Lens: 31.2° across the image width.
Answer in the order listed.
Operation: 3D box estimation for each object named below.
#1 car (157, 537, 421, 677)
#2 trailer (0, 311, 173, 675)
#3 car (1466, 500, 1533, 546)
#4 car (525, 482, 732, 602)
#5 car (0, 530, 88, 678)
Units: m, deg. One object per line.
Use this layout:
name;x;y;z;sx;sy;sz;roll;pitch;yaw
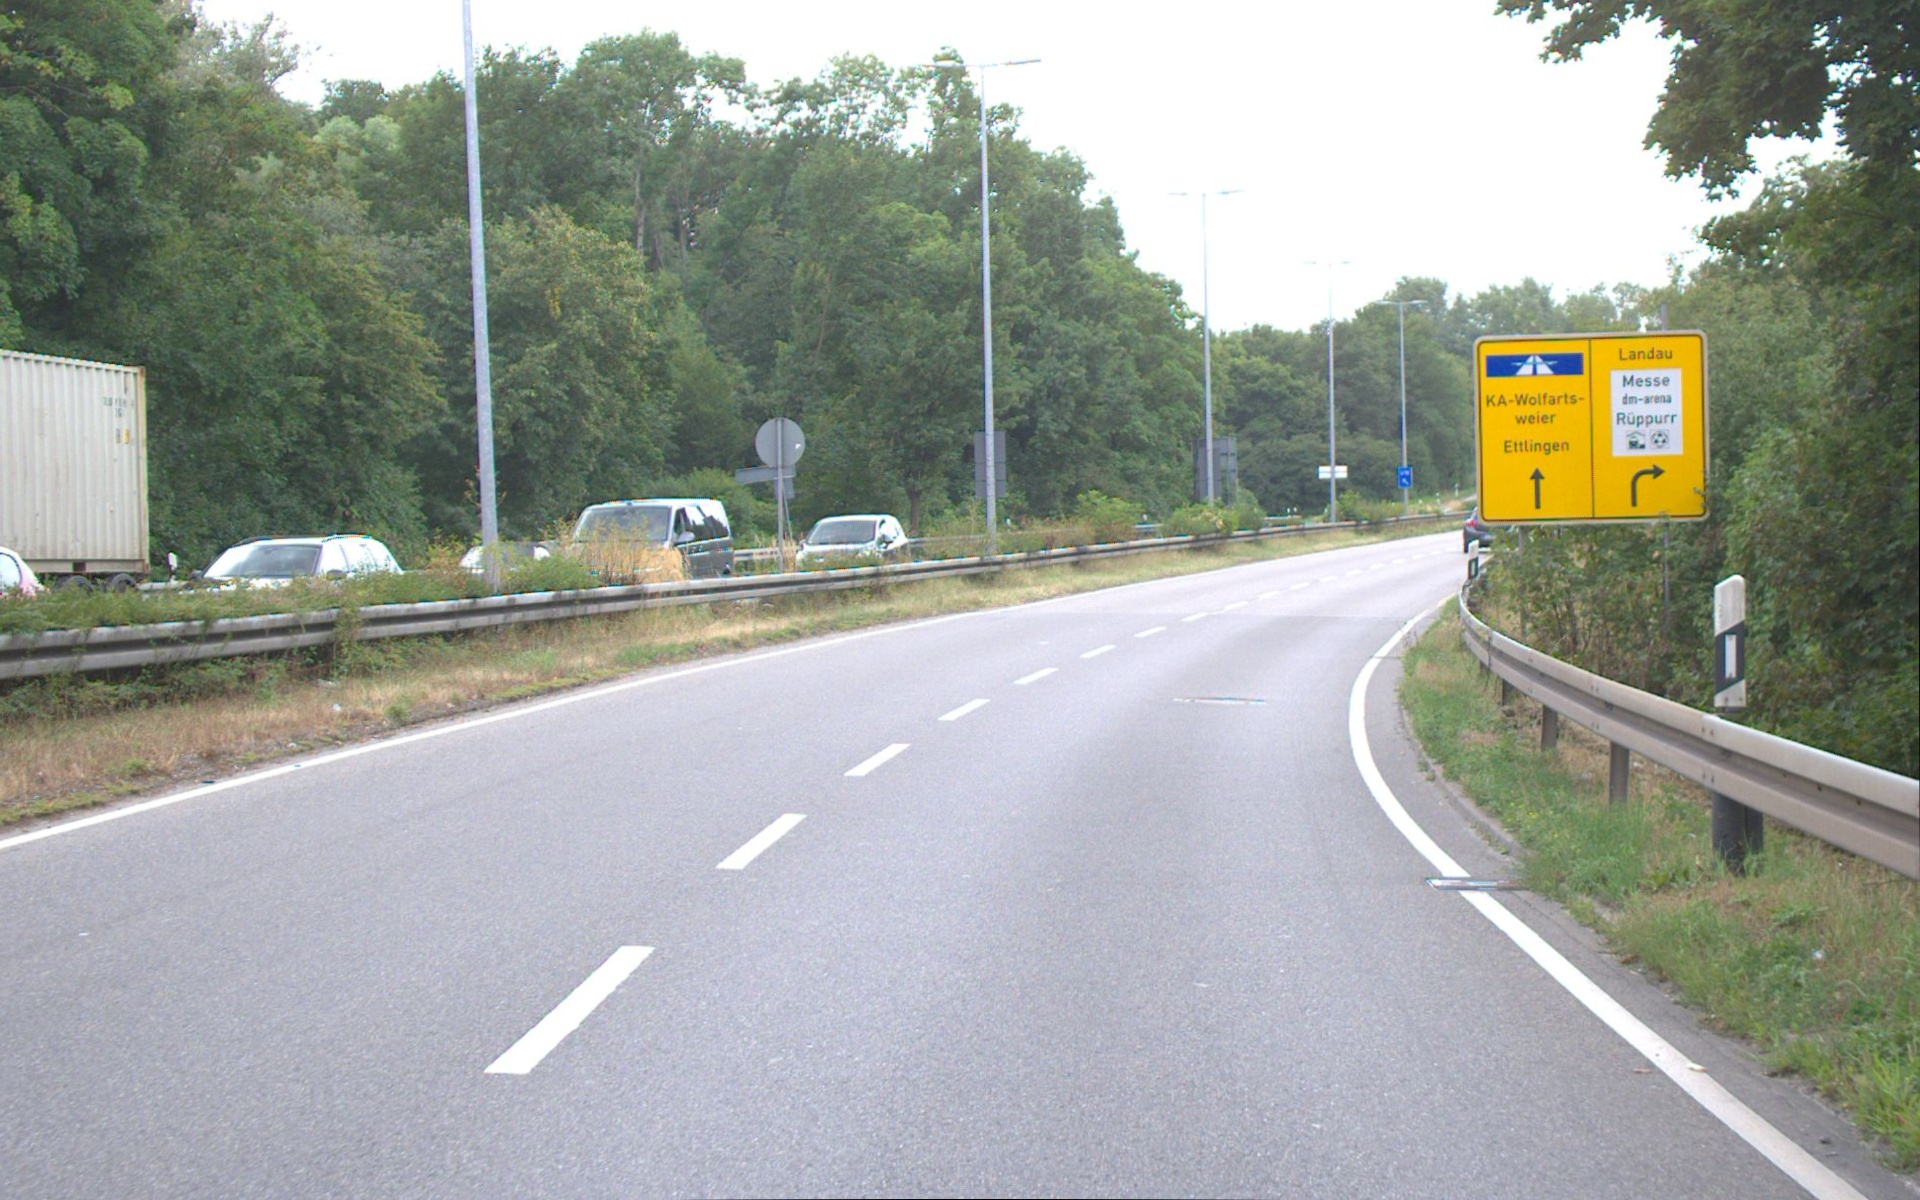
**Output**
car;-8.348;0.059;43.172;1.841;1.661;4.333;0;1;9
trailer;-12.228;-1.202;38.767;2.536;4.133;10.767;0;1;10
car;16.529;-2.345;105.242;1.626;1.373;3.997;0;1;14
car;-5.366;-0.935;56.390;2.010;1.857;5.276;0;1;10
car;-10.126;0.045;33.279;1.804;1.427;4.124;0;1;9
